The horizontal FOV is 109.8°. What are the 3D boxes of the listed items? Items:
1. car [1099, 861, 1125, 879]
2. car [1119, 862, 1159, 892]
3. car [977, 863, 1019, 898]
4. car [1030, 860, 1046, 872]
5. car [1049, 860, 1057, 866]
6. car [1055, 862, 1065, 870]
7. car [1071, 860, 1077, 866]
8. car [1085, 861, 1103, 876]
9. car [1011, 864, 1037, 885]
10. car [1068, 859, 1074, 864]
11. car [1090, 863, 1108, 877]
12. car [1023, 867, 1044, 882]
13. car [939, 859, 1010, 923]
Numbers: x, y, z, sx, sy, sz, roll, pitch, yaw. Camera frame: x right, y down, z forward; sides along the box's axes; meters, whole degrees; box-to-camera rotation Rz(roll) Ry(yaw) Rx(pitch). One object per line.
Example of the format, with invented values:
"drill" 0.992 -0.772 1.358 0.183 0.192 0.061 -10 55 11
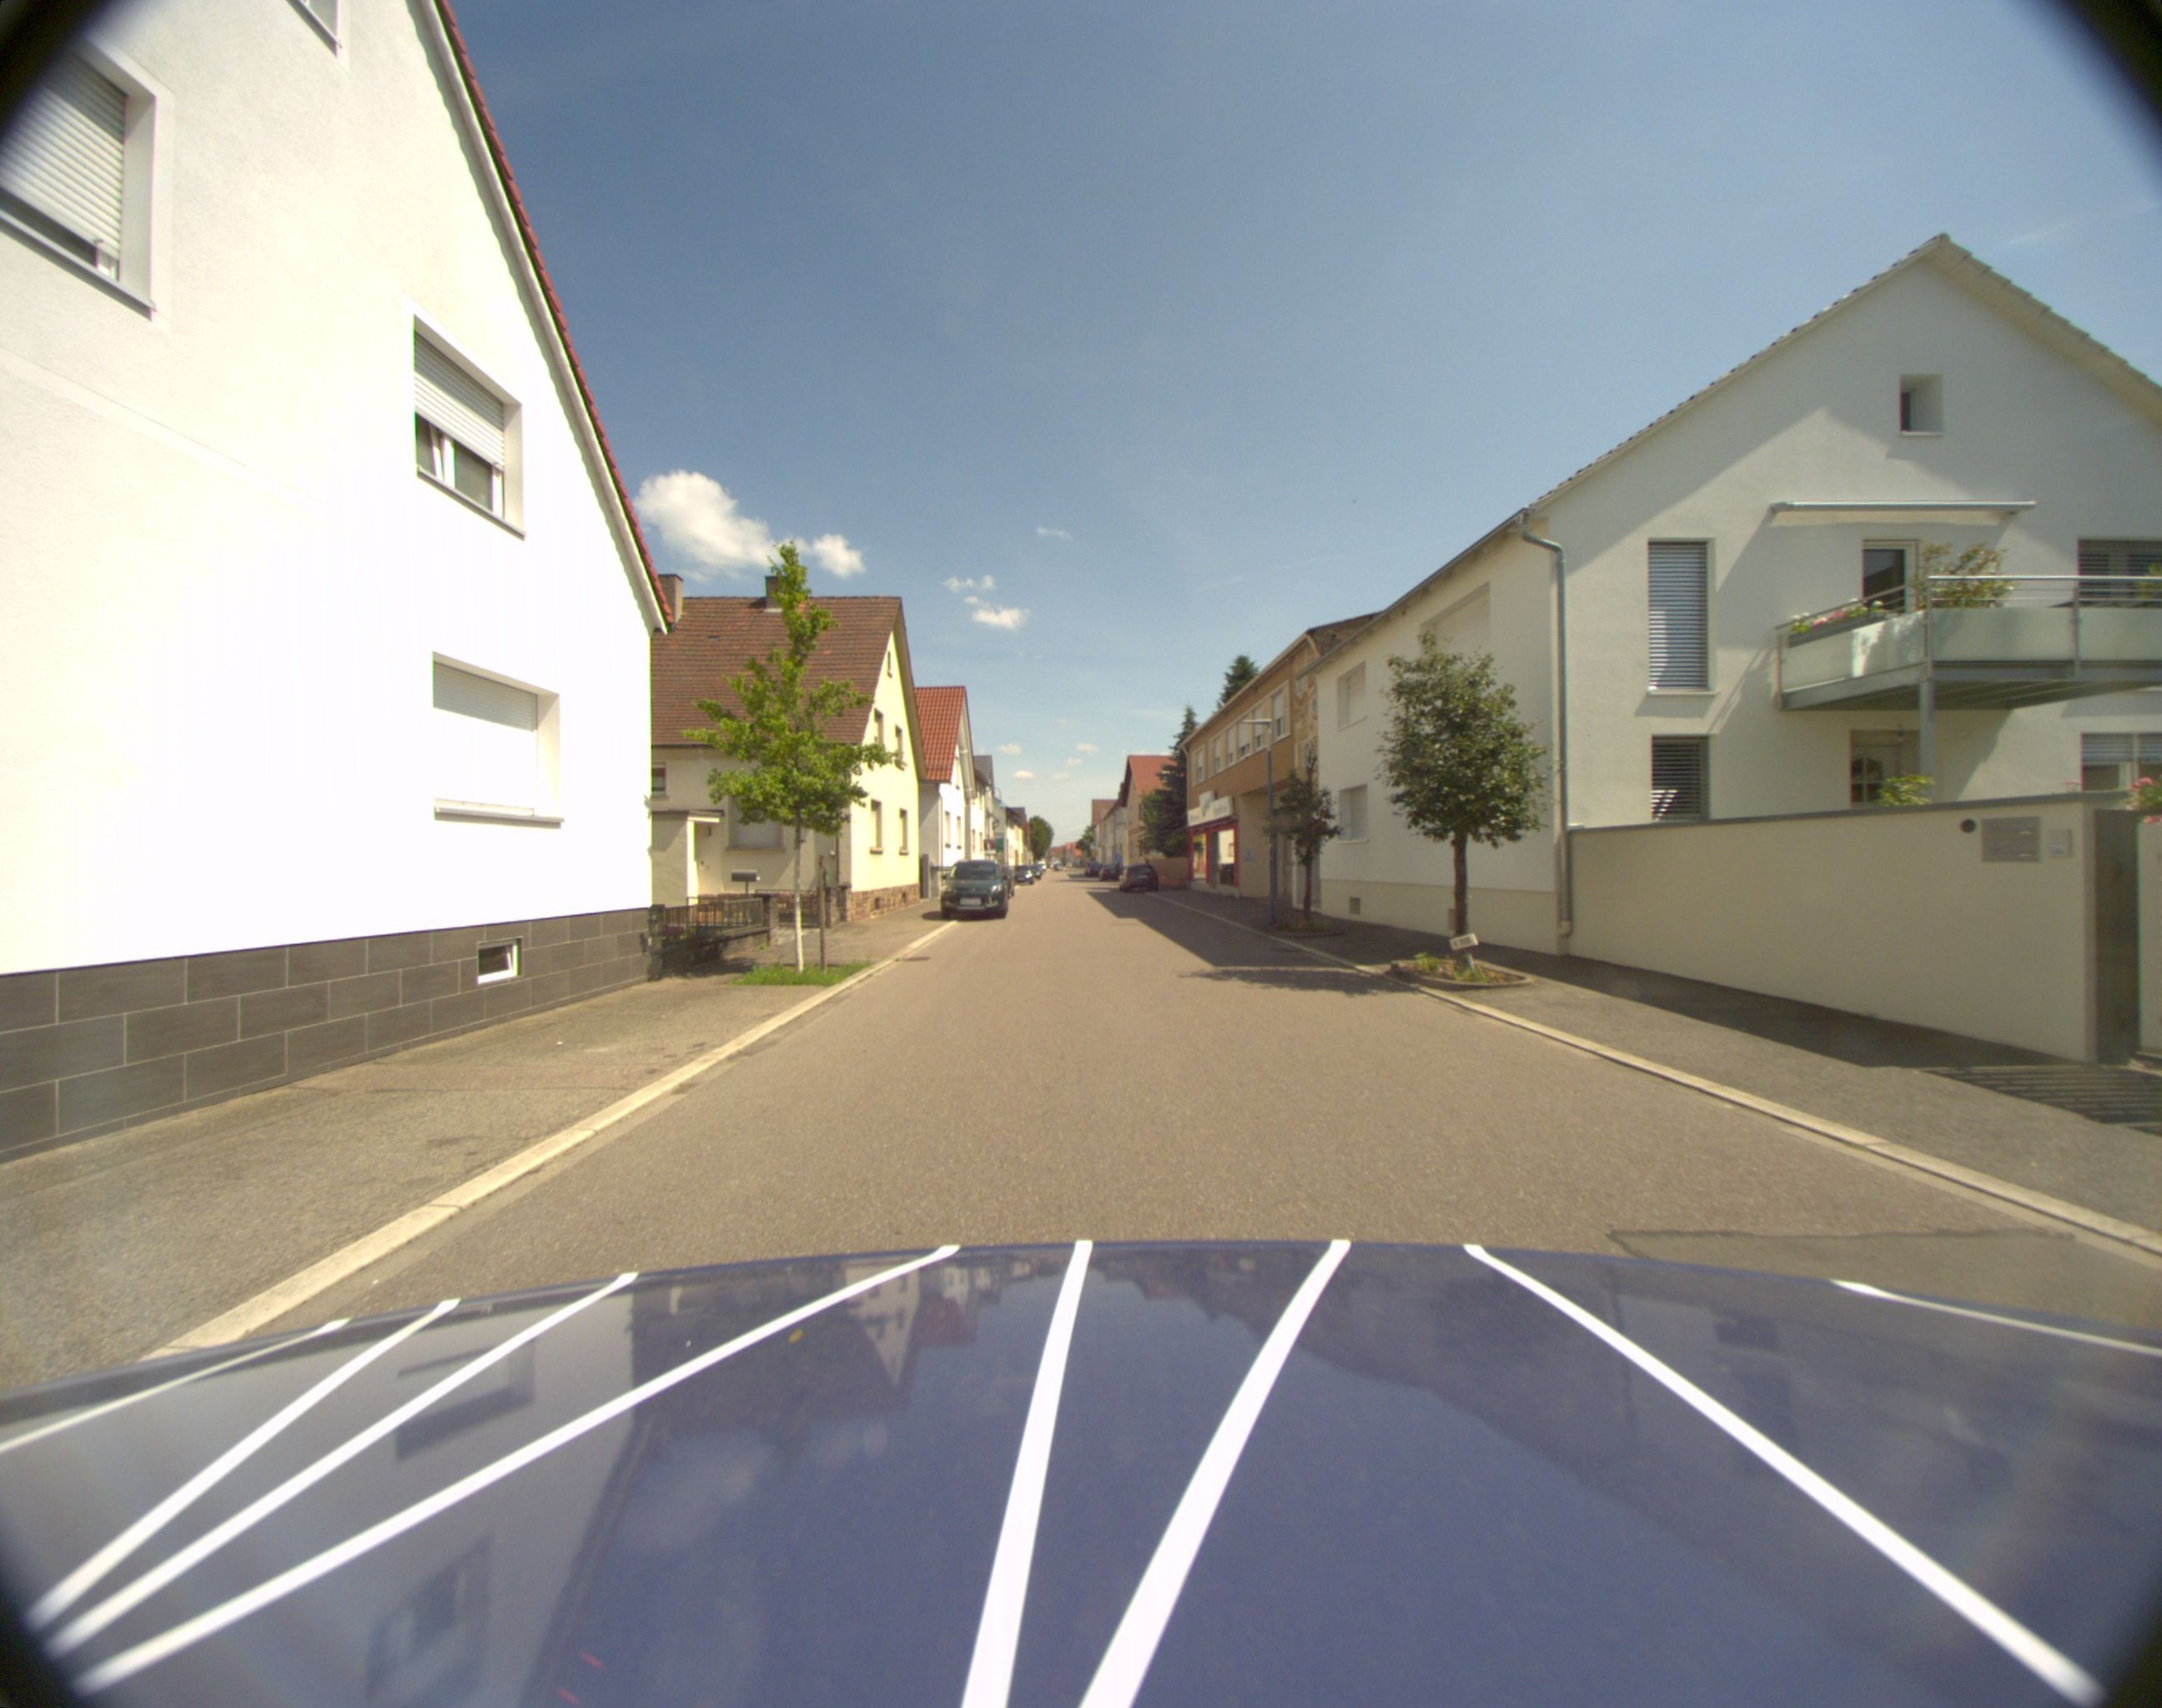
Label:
"car" 2.470 1.270 61.514 1.766 1.366 4.065 -2 0 -2
"car" 3.042 1.183 40.392 1.772 1.451 4.436 -1 0 0
"car" -3.880 1.200 35.897 1.621 1.487 3.971 2 0 -2
"car" -5.666 1.600 100.255 1.726 1.473 3.750 2 0 2
"car" -7.400 2.424 201.568 1.848 1.385 4.169 -1 -3 -4
"car" -4.053 2.284 146.092 1.598 1.533 4.200 -3 0 1
"car" -1.917 2.515 215.872 1.727 1.385 4.170 -1 -3 0
"car" 1.409 1.588 85.126 1.722 1.630 4.148 1 0 -3
"car" -4.090 1.436 54.883 1.693 1.414 3.656 -1 0 -2
"car" -3.096 2.358 232.602 1.598 1.385 4.168 -2 0 -2
"car" 1.863 1.670 79.425 1.702 1.403 4.389 -1 0 -1
"car" -4.466 1.907 72.230 1.820 1.268 4.146 -1 0 -1
"car" -3.077 1.011 22.703 1.733 1.707 4.274 -1 0 -4
